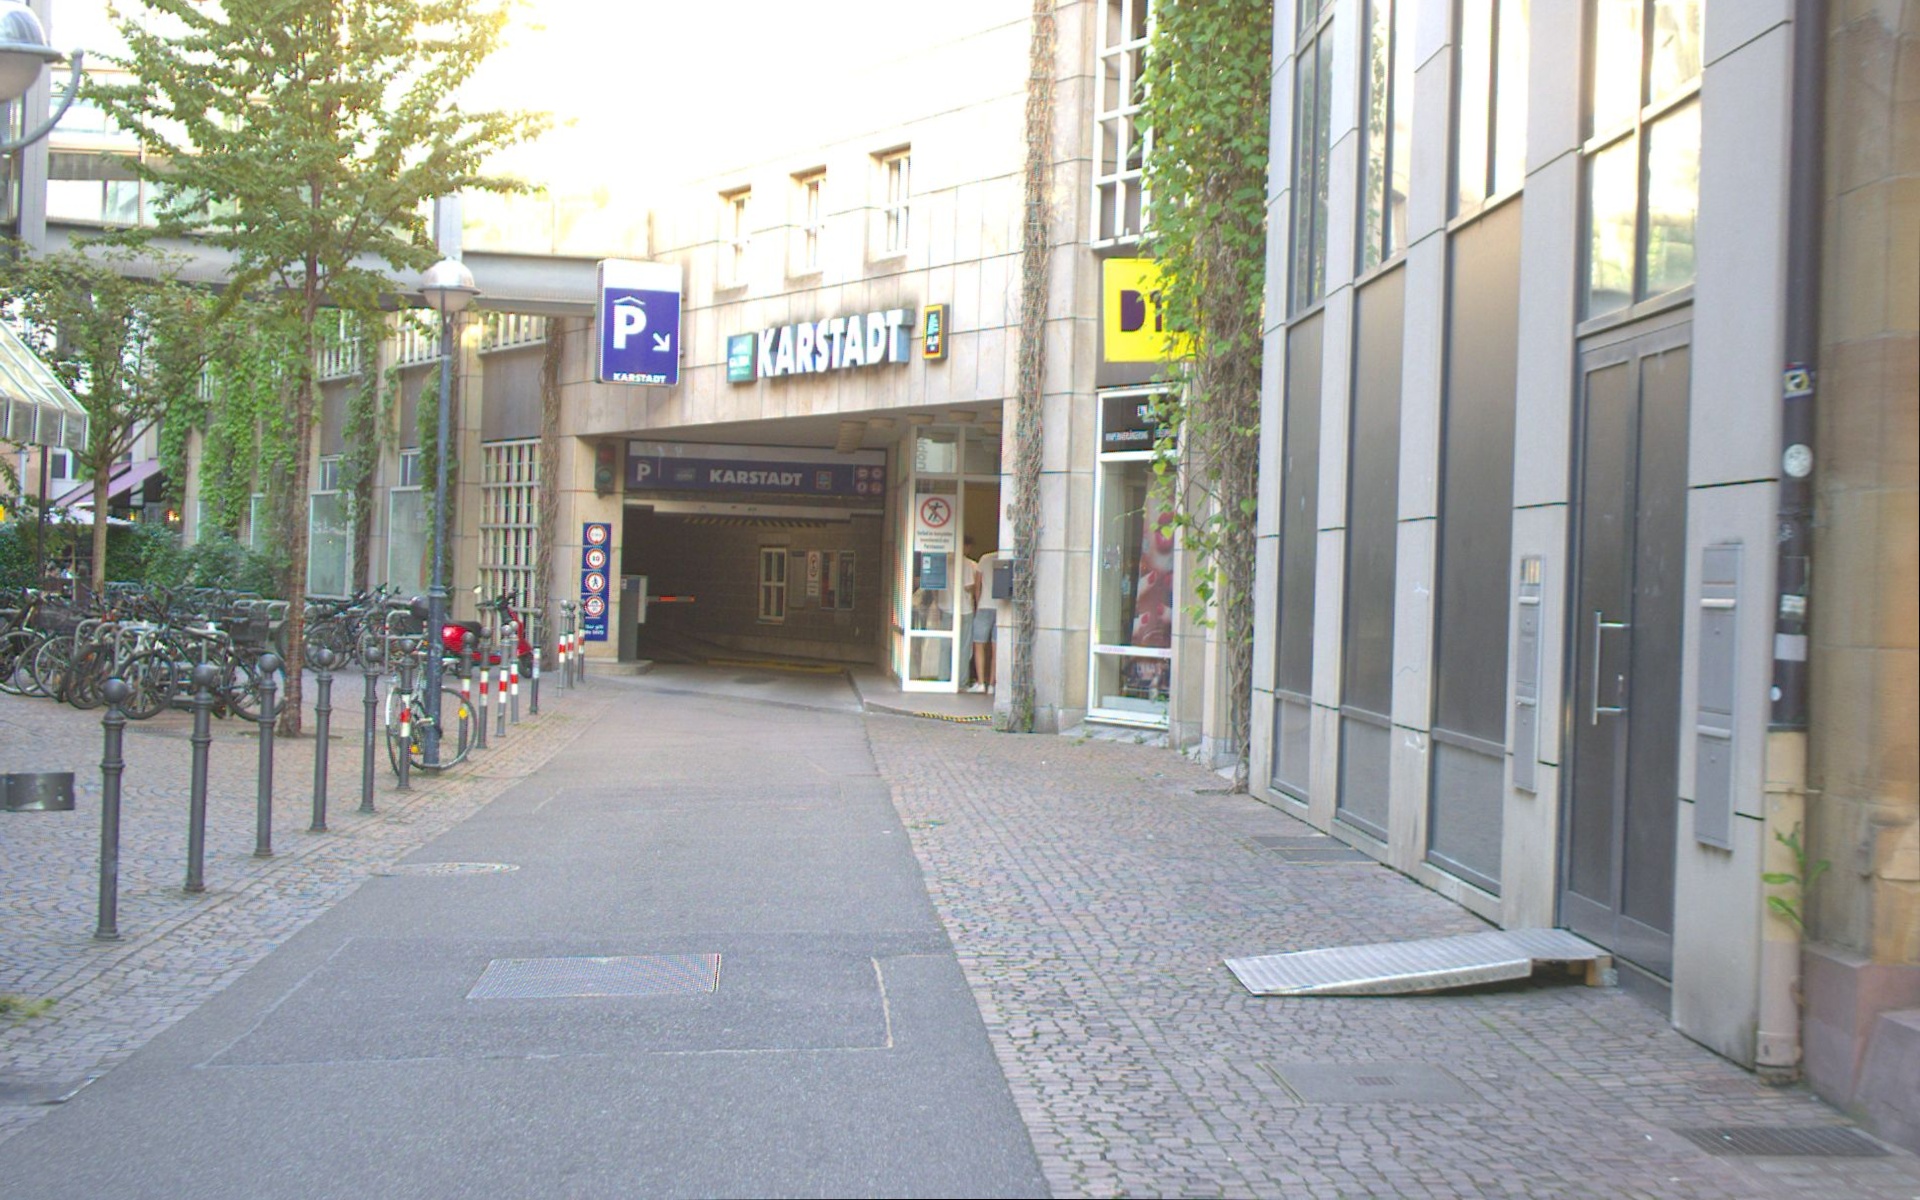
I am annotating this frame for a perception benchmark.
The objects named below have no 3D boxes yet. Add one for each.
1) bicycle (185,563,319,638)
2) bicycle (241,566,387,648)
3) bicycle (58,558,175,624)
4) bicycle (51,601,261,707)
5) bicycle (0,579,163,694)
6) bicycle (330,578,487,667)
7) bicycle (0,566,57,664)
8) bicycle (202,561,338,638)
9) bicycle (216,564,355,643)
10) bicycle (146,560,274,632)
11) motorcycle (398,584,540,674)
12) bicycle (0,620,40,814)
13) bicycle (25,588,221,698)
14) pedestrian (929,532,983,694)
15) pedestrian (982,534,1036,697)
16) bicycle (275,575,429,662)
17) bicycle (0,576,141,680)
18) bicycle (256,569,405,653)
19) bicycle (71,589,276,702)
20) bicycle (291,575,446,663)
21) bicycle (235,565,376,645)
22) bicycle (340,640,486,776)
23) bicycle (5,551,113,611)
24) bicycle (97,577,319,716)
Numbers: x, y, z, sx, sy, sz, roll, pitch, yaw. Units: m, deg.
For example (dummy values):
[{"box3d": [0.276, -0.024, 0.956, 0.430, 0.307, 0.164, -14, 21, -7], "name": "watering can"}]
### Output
[{"box3d": [-11.296, 0.002, 54.864, 1.993, 1.178, 0.694, 0, 1, -22], "name": "bicycle"}, {"box3d": [-9.541, 0.098, 50.755, 1.993, 1.178, 0.803, 0, 1, -22], "name": "bicycle"}, {"box3d": [-15.388, -0.167, 62.721, 1.993, 1.178, 0.694, 0, 1, -22], "name": "bicycle"}, {"box3d": [-7.953, 0.535, 34.021, 1.912, 0.991, 0.696, 1, 1, -22], "name": "bicycle"}, {"box3d": [-9.596, 0.389, 36.959, 1.912, 1.178, 0.696, 1, 0, -19], "name": "bicycle"}, {"box3d": [-7.459, 0.297, 46.513, 1.993, 1.178, 0.696, 0, 1, -22], "name": "bicycle"}, {"box3d": [-12.141, 0.165, 42.298, 1.912, 1.178, 0.696, 1, 0, -19], "name": "bicycle"}, {"box3d": [-10.798, -0.017, 53.810, 1.993, 1.178, 0.694, 0, 1, -22], "name": "bicycle"}, {"box3d": [-10.316, 0.051, 52.593, 1.993, 1.178, 0.694, 0, 1, -22], "name": "bicycle"}, {"box3d": [-12.465, -0.078, 57.176, 1.993, 1.178, 0.694, 0, 1, -22], "name": "bicycle"}, {"box3d": [-6.411, 0.374, 44.882, 1.745, 1.151, 0.595, 0, 1, -19], "name": "motorcycle"}, {"box3d": [-5.957, 0.675, 19.455, 0.694, 1.108, 1.776, 1, 1, 12], "name": "bicycle"}, {"box3d": [-8.786, 0.451, 36.093, 1.912, 1.098, 0.696, 1, 0, -19], "name": "bicycle"}, {"box3d": [-0.043, 0.146, 39.860, 0.542, 1.840, 0.408, 2, 1, 4], "name": "pedestrian"}, {"box3d": [0.570, 0.170, 39.705, 0.542, 1.855, 0.408, 2, 1, 4], "name": "pedestrian"}, {"box3d": [-8.525, 0.249, 48.209, 1.993, 1.178, 0.803, 0, 1, -22], "name": "bicycle"}, {"box3d": [-10.708, 0.327, 40.609, 1.912, 1.178, 0.696, 1, 0, -19], "name": "bicycle"}, {"box3d": [-9.032, 0.151, 49.321, 1.993, 1.178, 0.803, 0, 1, -22], "name": "bicycle"}, {"box3d": [-7.994, 0.462, 34.939, 1.912, 1.098, 0.696, 1, 1, -22], "name": "bicycle"}, {"box3d": [-8.143, 0.254, 47.343, 1.993, 1.178, 0.696, 0, 1, -22], "name": "bicycle"}, {"box3d": [-9.847, 0.066, 51.730, 1.993, 1.178, 0.694, 0, 1, -22], "name": "bicycle"}, {"box3d": [-4.185, 0.812, 26.416, 0.505, 0.963, 1.694, 1, 1, 12], "name": "bicycle"}, {"box3d": [-17.806, -0.378, 67.920, 1.993, 1.178, 0.694, 0, 1, -22], "name": "bicycle"}, {"box3d": [-7.141, 0.443, 32.640, 1.912, 1.256, 0.809, 1, 1, -22], "name": "bicycle"}]
